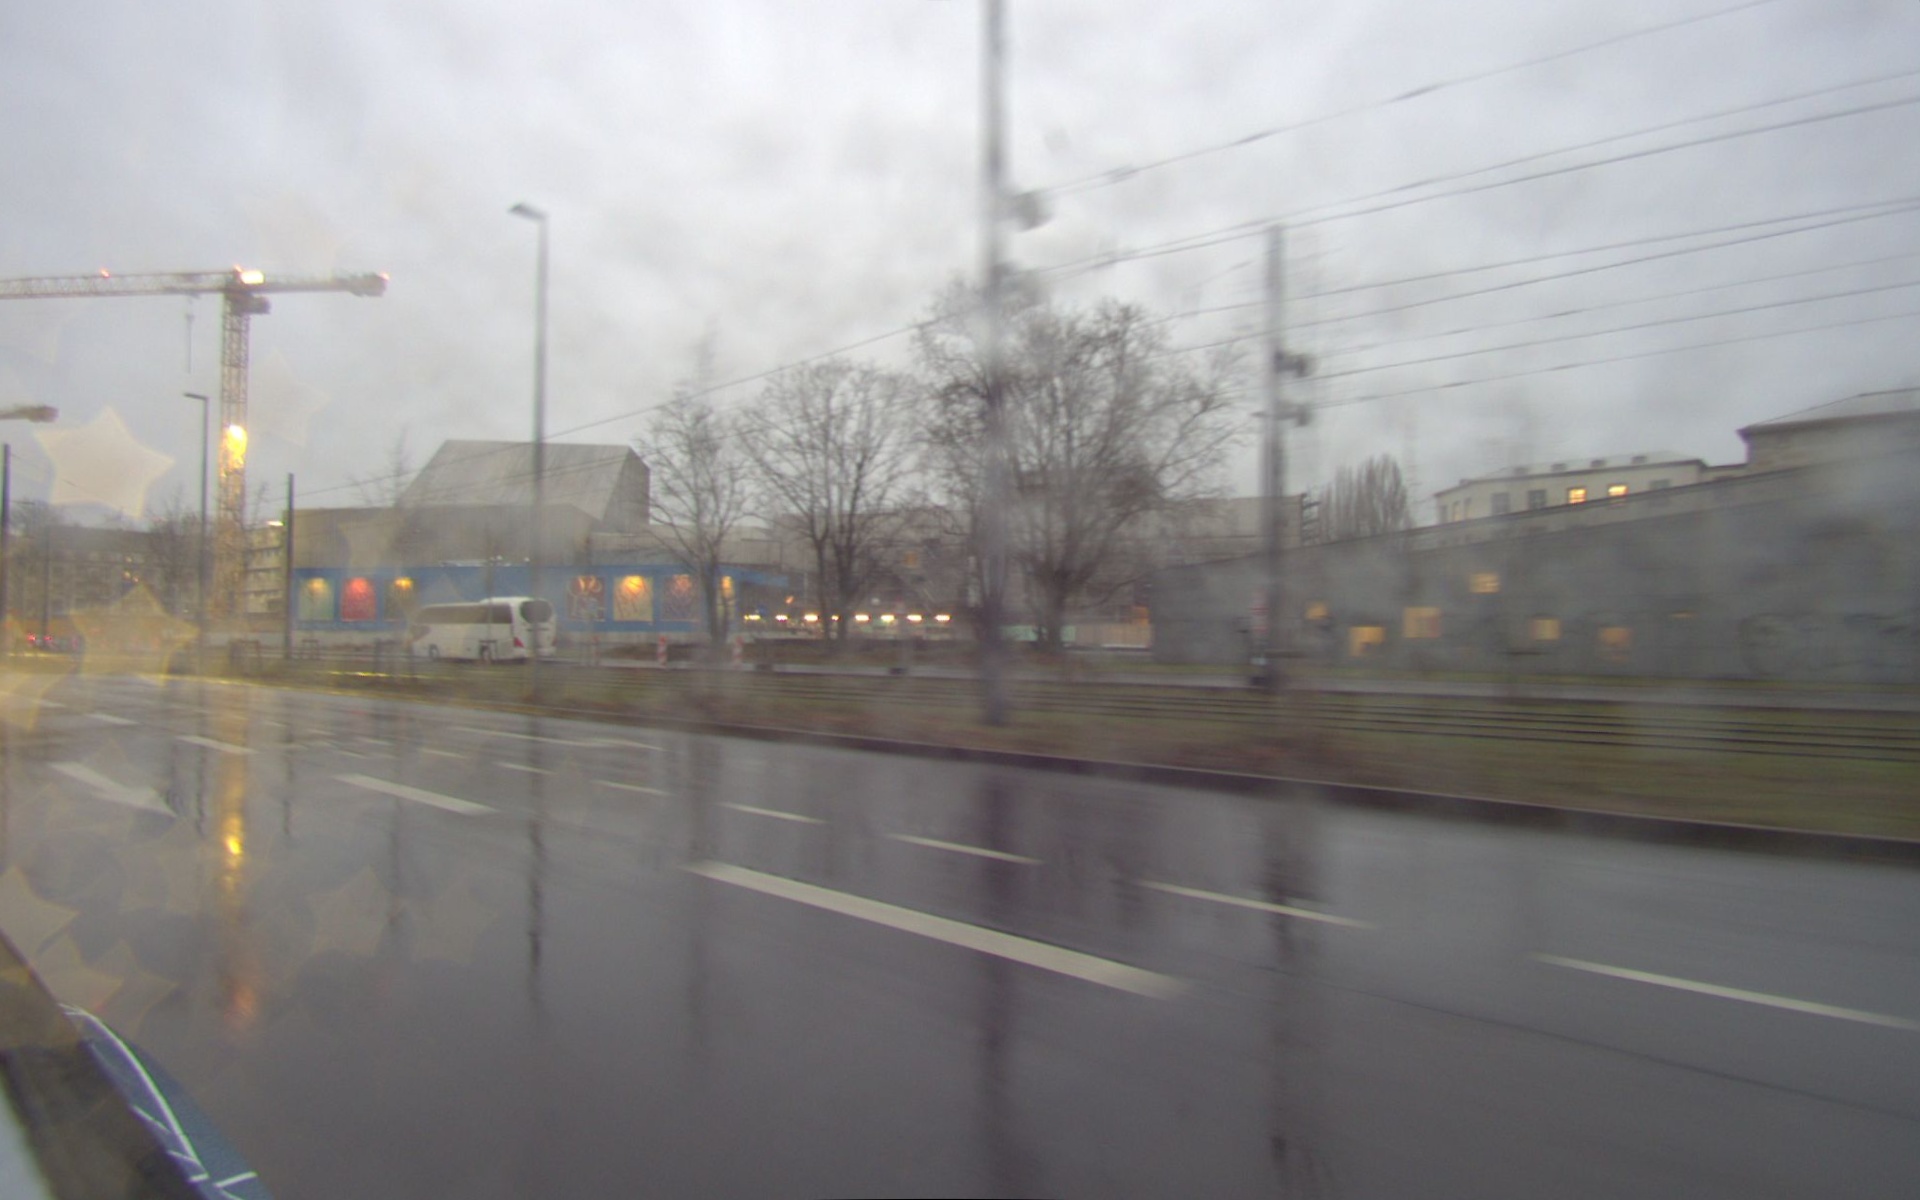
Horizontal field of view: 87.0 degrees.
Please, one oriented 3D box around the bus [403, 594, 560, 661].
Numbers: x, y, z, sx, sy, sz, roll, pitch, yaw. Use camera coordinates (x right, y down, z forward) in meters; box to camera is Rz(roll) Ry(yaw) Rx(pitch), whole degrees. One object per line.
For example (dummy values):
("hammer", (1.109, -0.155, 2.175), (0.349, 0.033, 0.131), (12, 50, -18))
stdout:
("bus", (-28.368, 1.653, 59.624), (12.281, 3.605, 2.781), (-2, -3, 36))
